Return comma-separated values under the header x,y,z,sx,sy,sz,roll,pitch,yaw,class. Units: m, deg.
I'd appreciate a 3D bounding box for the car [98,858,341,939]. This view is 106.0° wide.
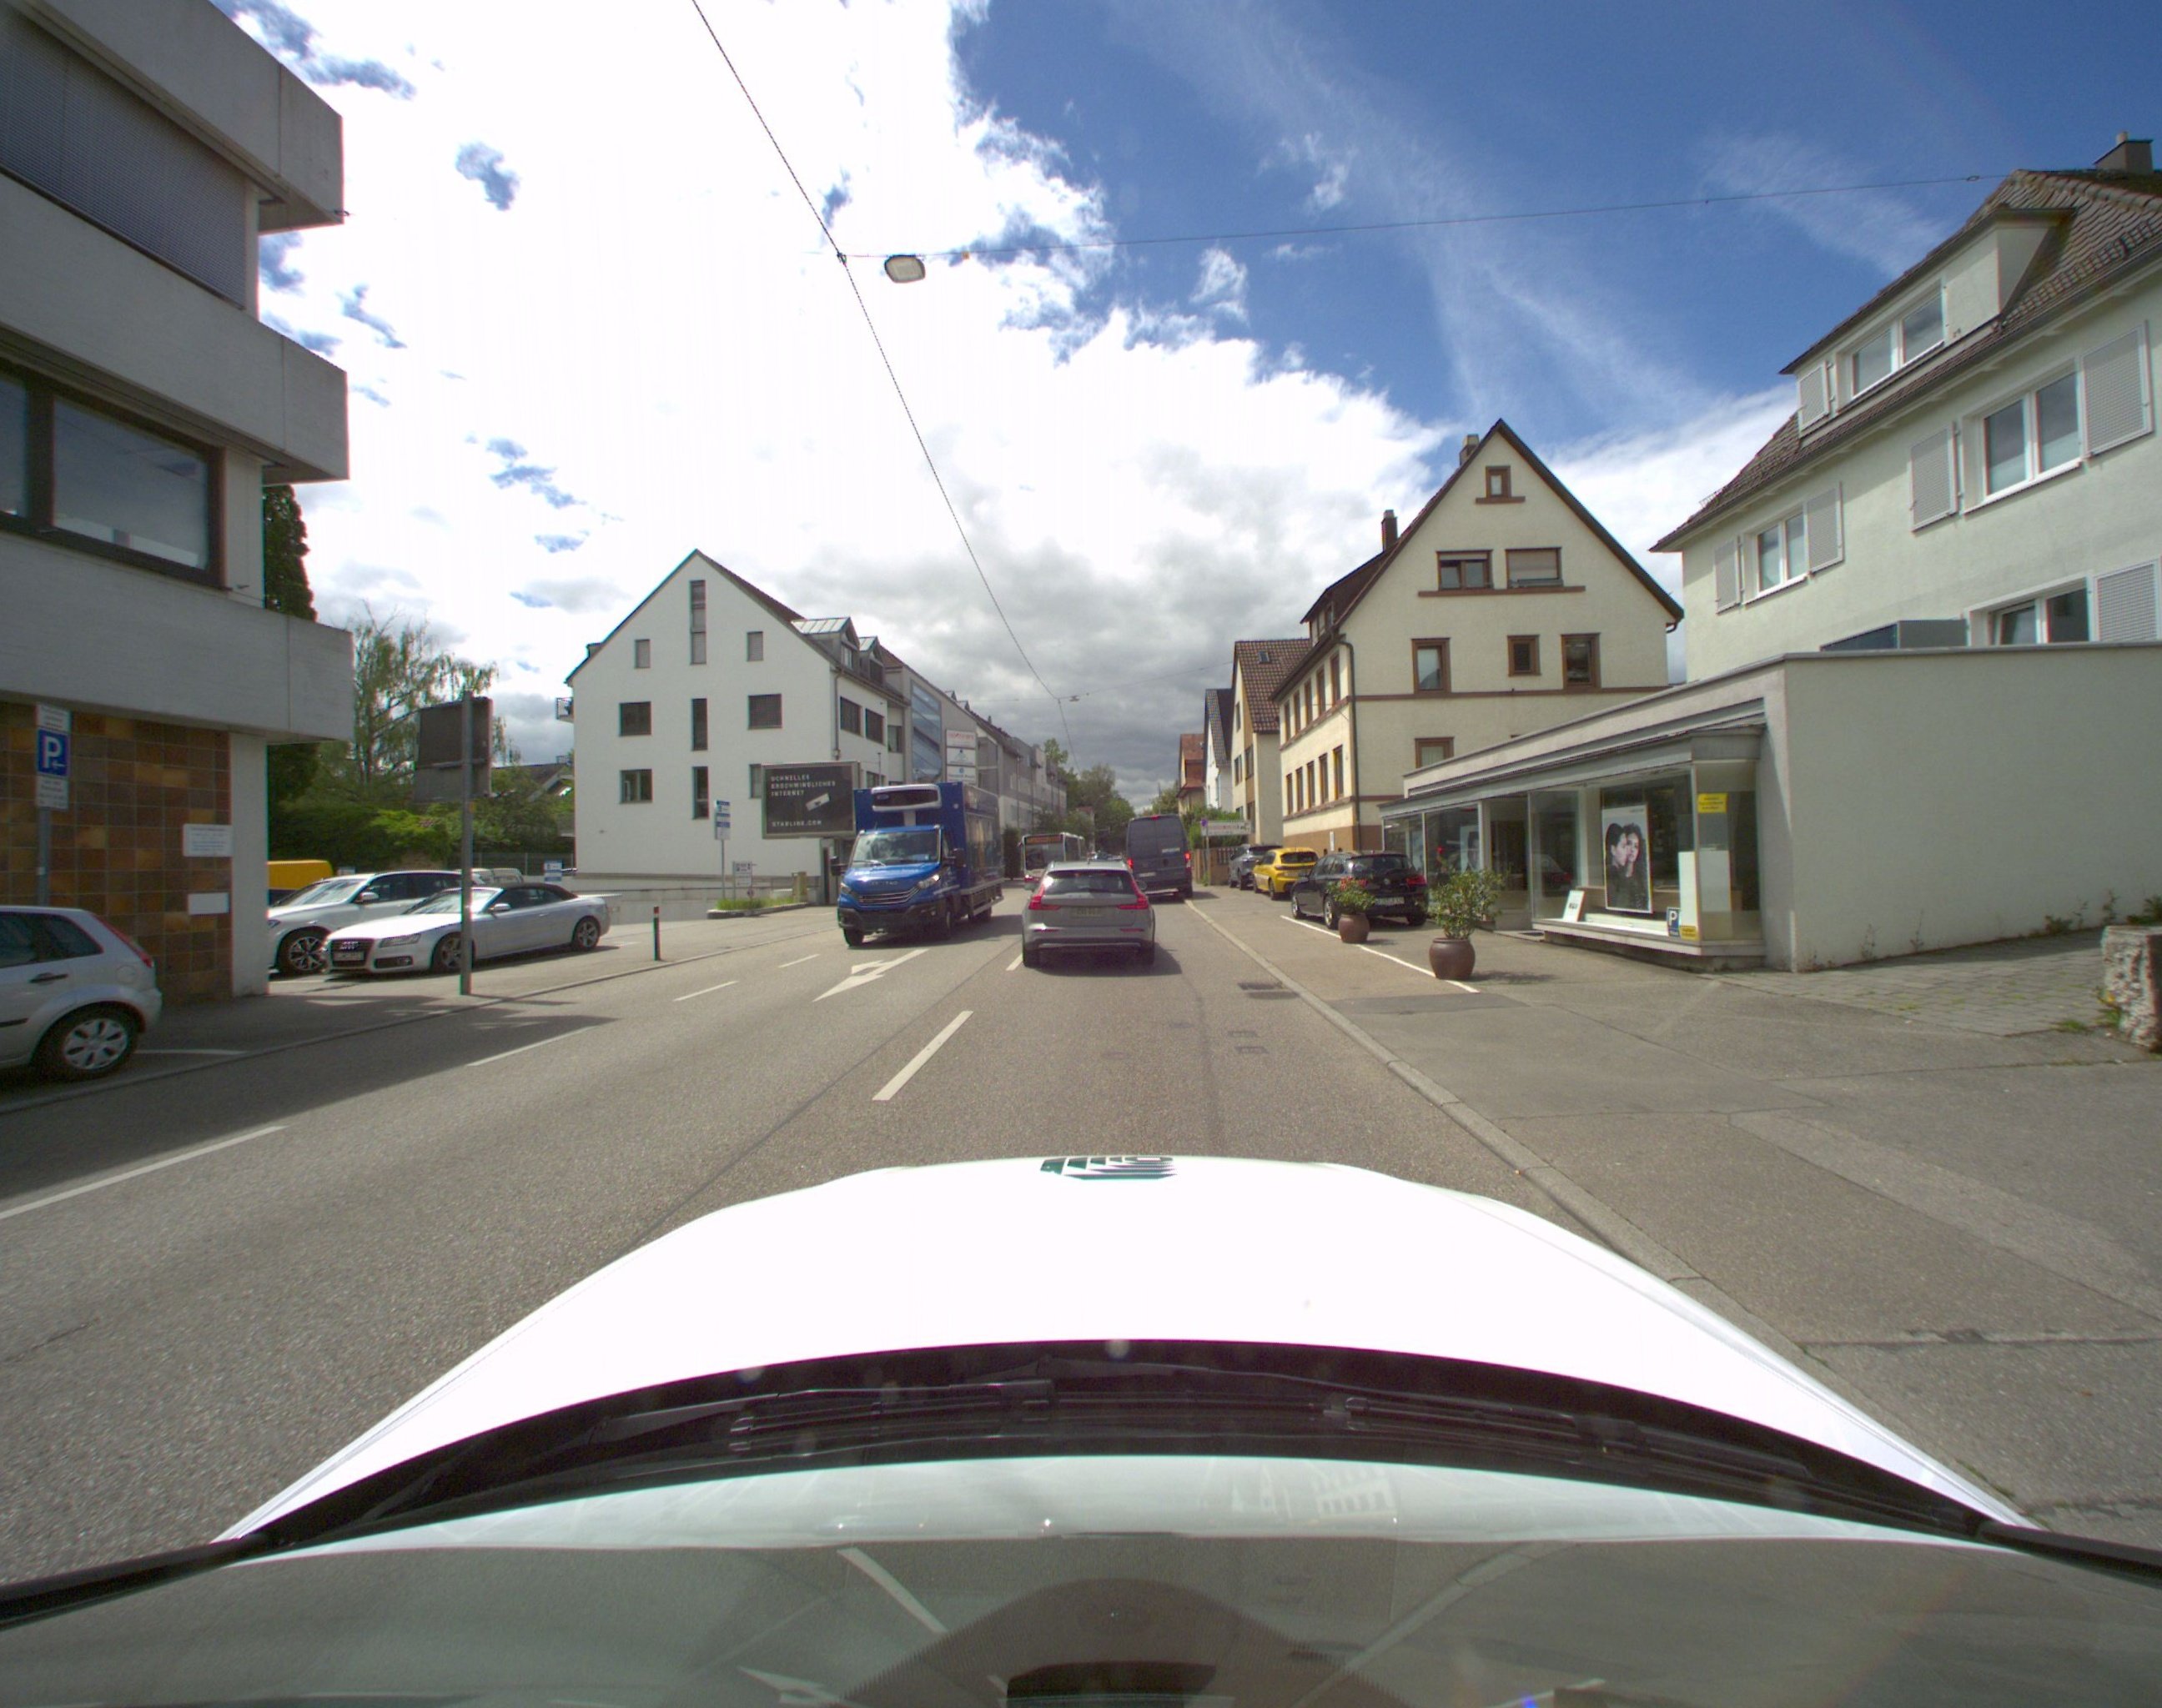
x,y,z,sx,sy,sz,roll,pitch,yaw,class
-31.116,1.486,29.811,2.051,2.530,5.987,-3,-1,6,car

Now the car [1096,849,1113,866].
x,y,z,sx,sy,sz,roll,pitch,yaw,class
3.179,0.494,110.756,2.097,2.121,4.768,-4,0,2,car

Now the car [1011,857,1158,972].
x,y,z,sx,sy,sz,roll,pitch,yaw,class
0.116,0.795,12.583,1.889,1.453,3.970,-1,0,2,car

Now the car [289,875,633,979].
x,y,z,sx,sy,sz,roll,pitch,yaw,class
-10.461,1.141,14.381,1.941,1.358,4.865,-2,0,7,car

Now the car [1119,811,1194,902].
x,y,z,sx,sy,sz,roll,pitch,yaw,class
2.619,0.087,28.255,2.242,2.795,5.577,-2,0,5,car

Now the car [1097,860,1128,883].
x,y,z,sx,sy,sz,roll,pitch,yaw,class
2.138,1.147,54.804,1.887,1.446,3.974,-1,0,5,car

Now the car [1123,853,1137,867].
x,y,z,sx,sy,sz,roll,pitch,yaw,class
7.419,0.840,122.649,1.984,2.013,4.005,-2,0,5,car

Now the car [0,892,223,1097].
x,y,z,sx,sy,sz,roll,pitch,yaw,class
-8.740,1.059,5.293,1.713,1.422,4.154,-1,0,5,car

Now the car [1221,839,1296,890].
x,y,z,sx,sy,sz,roll,pitch,yaw,class
6.391,0.357,29.762,1.853,1.612,4.589,-3,0,2,car

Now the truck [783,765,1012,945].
x,y,z,sx,sy,sz,roll,pitch,yaw,class
-3.597,0.041,18.449,2.841,3.093,8.096,-2,0,3,truck

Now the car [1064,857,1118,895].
x,y,z,sx,sy,sz,roll,pitch,yaw,class
0.480,0.849,33.182,1.887,1.446,3.974,-1,0,5,car

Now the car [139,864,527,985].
x,y,z,sx,sy,sz,roll,pitch,yaw,class
-13.053,1.110,14.801,1.939,1.619,4.943,-4,0,9,car

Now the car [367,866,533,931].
x,y,z,sx,sy,sz,roll,pitch,yaw,class
-21.948,1.484,28.610,1.828,1.989,4.657,-2,0,7,car

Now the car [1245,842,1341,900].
x,y,z,sx,sy,sz,roll,pitch,yaw,class
6.381,0.450,24.965,1.870,1.447,4.309,-2,2,1,car

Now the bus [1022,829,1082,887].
x,y,z,sx,sy,sz,roll,pitch,yaw,class
-1.642,0.229,50.693,2.671,3.163,10.193,-2,0,3,bus

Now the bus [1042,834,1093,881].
x,y,z,sx,sy,sz,roll,pitch,yaw,class
-0.899,0.255,59.823,2.702,3.163,8.081,-2,0,6,bus

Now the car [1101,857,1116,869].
x,y,z,sx,sy,sz,roll,pitch,yaw,class
4.081,1.281,121.110,2.097,1.710,4.768,-2,0,3,car

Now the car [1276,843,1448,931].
x,y,z,sx,sy,sz,roll,pitch,yaw,class
5.445,0.579,16.481,1.961,1.447,4.536,-2,0,1,car
